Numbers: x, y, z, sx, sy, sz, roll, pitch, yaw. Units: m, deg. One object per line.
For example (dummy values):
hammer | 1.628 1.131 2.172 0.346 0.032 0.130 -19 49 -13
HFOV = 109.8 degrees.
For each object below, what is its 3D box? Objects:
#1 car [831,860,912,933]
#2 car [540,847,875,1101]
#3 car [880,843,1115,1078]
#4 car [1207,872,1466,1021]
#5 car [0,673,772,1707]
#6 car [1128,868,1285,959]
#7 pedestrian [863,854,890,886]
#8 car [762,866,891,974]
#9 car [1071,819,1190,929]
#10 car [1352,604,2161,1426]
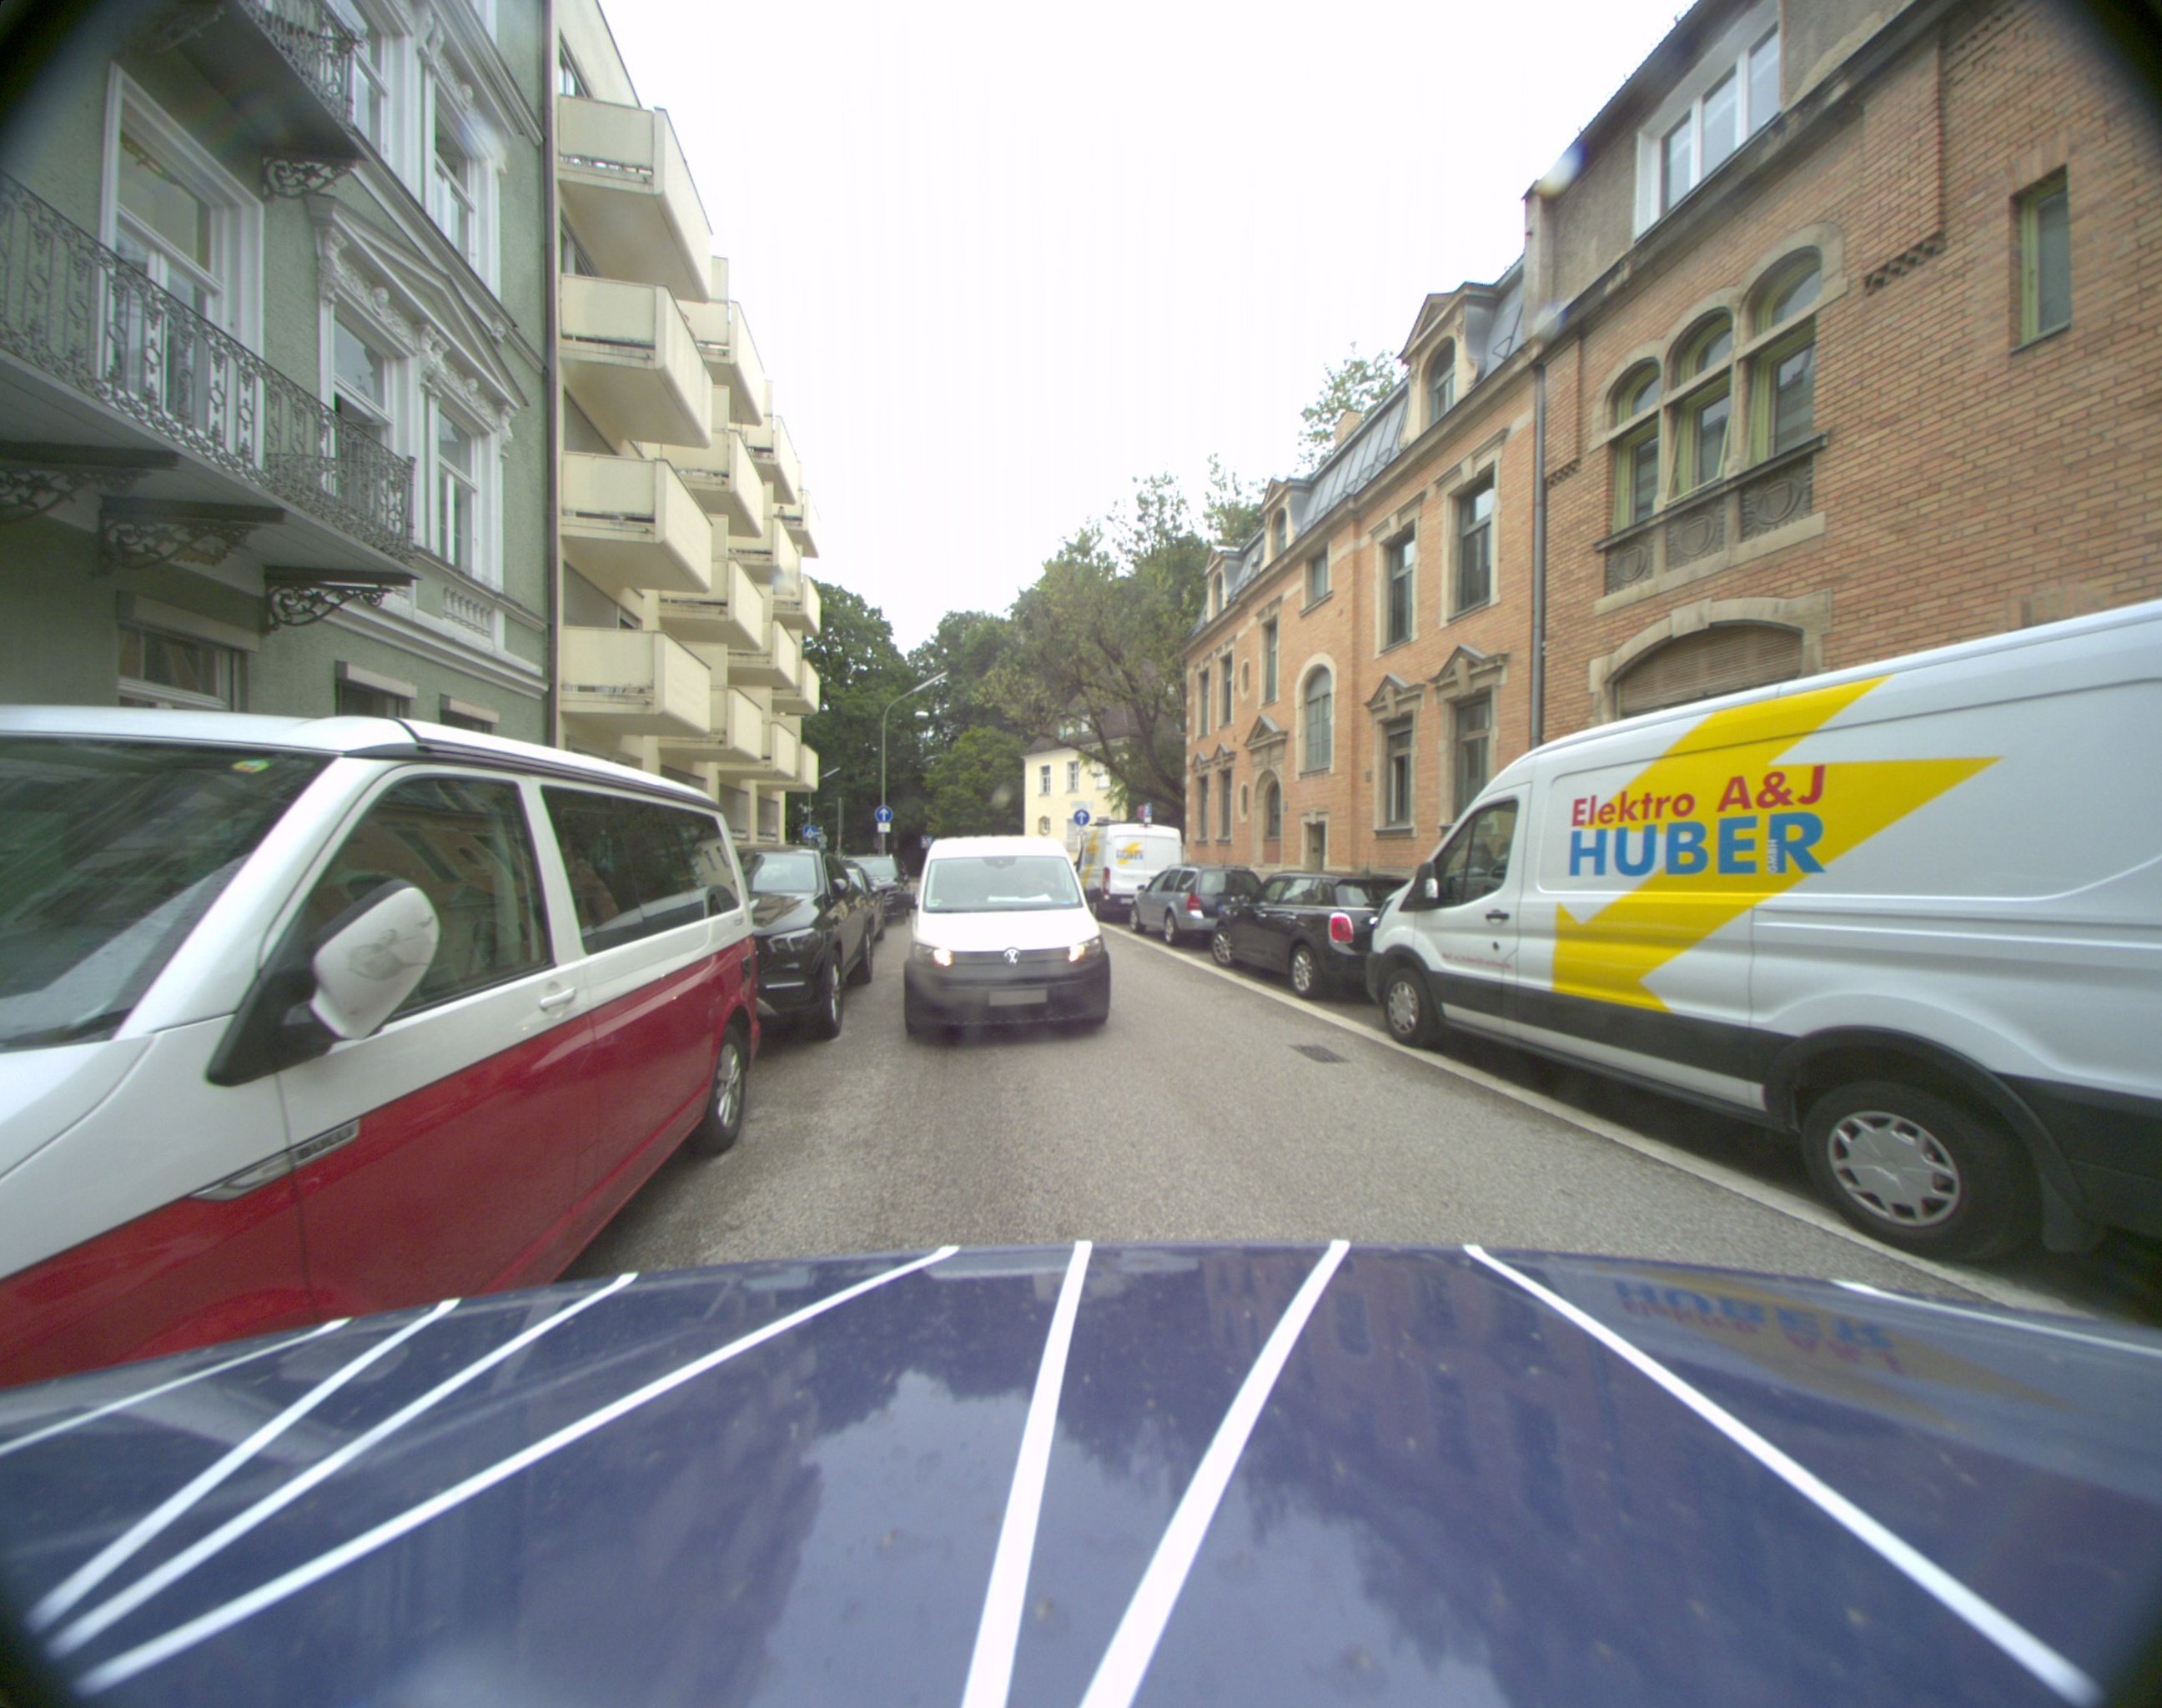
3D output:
car | -5.143 0.960 19.052 1.552 1.562 3.974 -2 0 -10
car | -3.283 0.866 7.767 1.833 1.747 4.549 -2 0 -10
car | -0.933 0.796 7.821 1.777 1.761 3.996 -1 0 -9
car | 2.952 1.011 9.585 1.528 1.434 3.537 2 0 -10
car | -2.492 0.745 2.244 1.859 1.885 4.588 -2 0 -9
car | 2.231 1.038 14.638 1.696 1.434 3.980 2 0 -10
pedestrian | -11.716 0.914 43.478 1.079 1.789 1.090 -3 2 -37
car | -4.297 1.017 13.371 1.552 1.488 3.974 -2 0 -10
car | 1.162 0.516 20.371 2.120 2.525 4.417 3 -1 -9
car | 3.904 0.495 4.494 1.988 2.463 5.218 2 0 -9
